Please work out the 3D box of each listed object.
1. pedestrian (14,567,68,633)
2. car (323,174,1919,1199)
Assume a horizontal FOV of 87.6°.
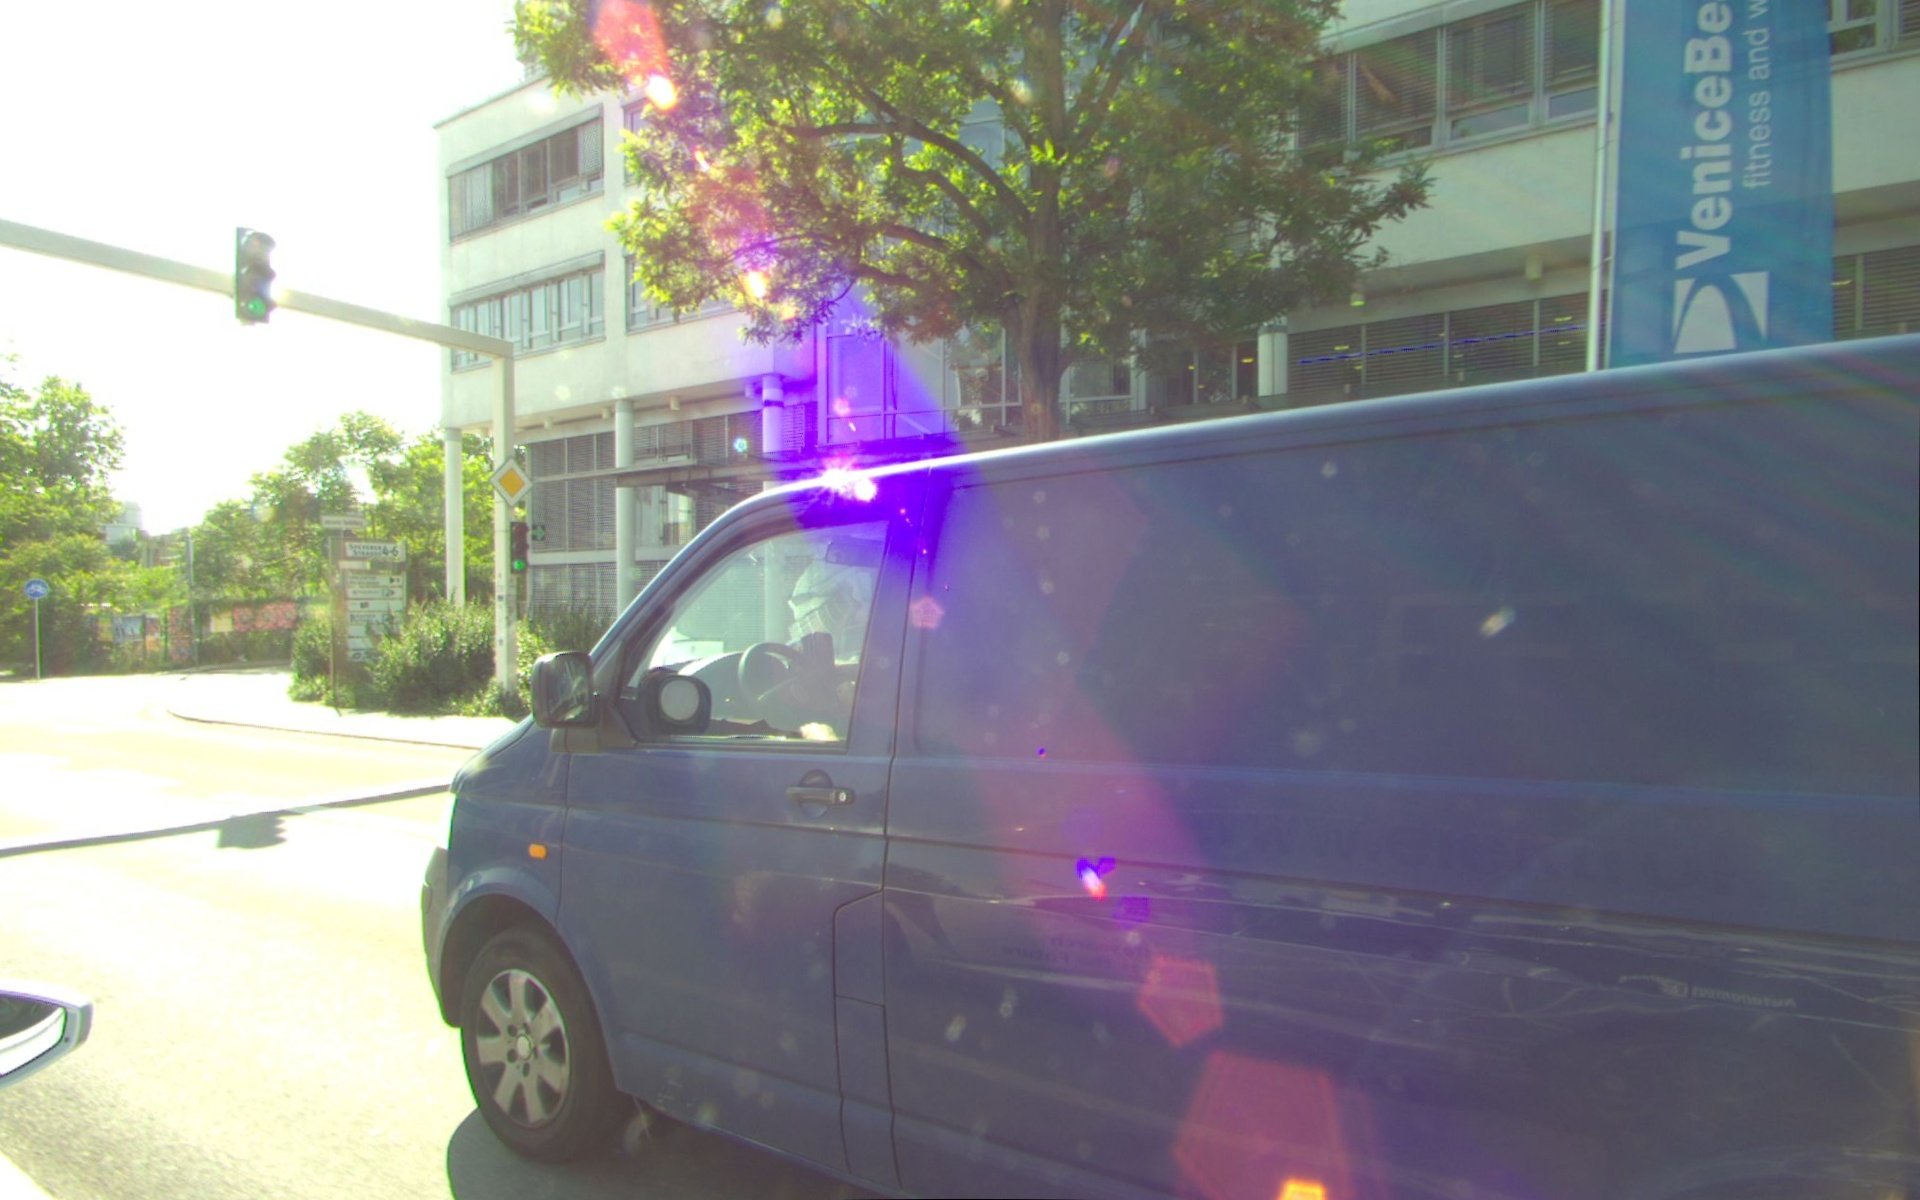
[{"bbox_3d":[-29.002,0.022,31.596,1.024,2.040,1.025,-1,0,33],"label":"pedestrian"},{"bbox_3d":[0.493,0.531,2.782,4.823,1.973,1.989,-2,-1,33],"label":"car"}]
